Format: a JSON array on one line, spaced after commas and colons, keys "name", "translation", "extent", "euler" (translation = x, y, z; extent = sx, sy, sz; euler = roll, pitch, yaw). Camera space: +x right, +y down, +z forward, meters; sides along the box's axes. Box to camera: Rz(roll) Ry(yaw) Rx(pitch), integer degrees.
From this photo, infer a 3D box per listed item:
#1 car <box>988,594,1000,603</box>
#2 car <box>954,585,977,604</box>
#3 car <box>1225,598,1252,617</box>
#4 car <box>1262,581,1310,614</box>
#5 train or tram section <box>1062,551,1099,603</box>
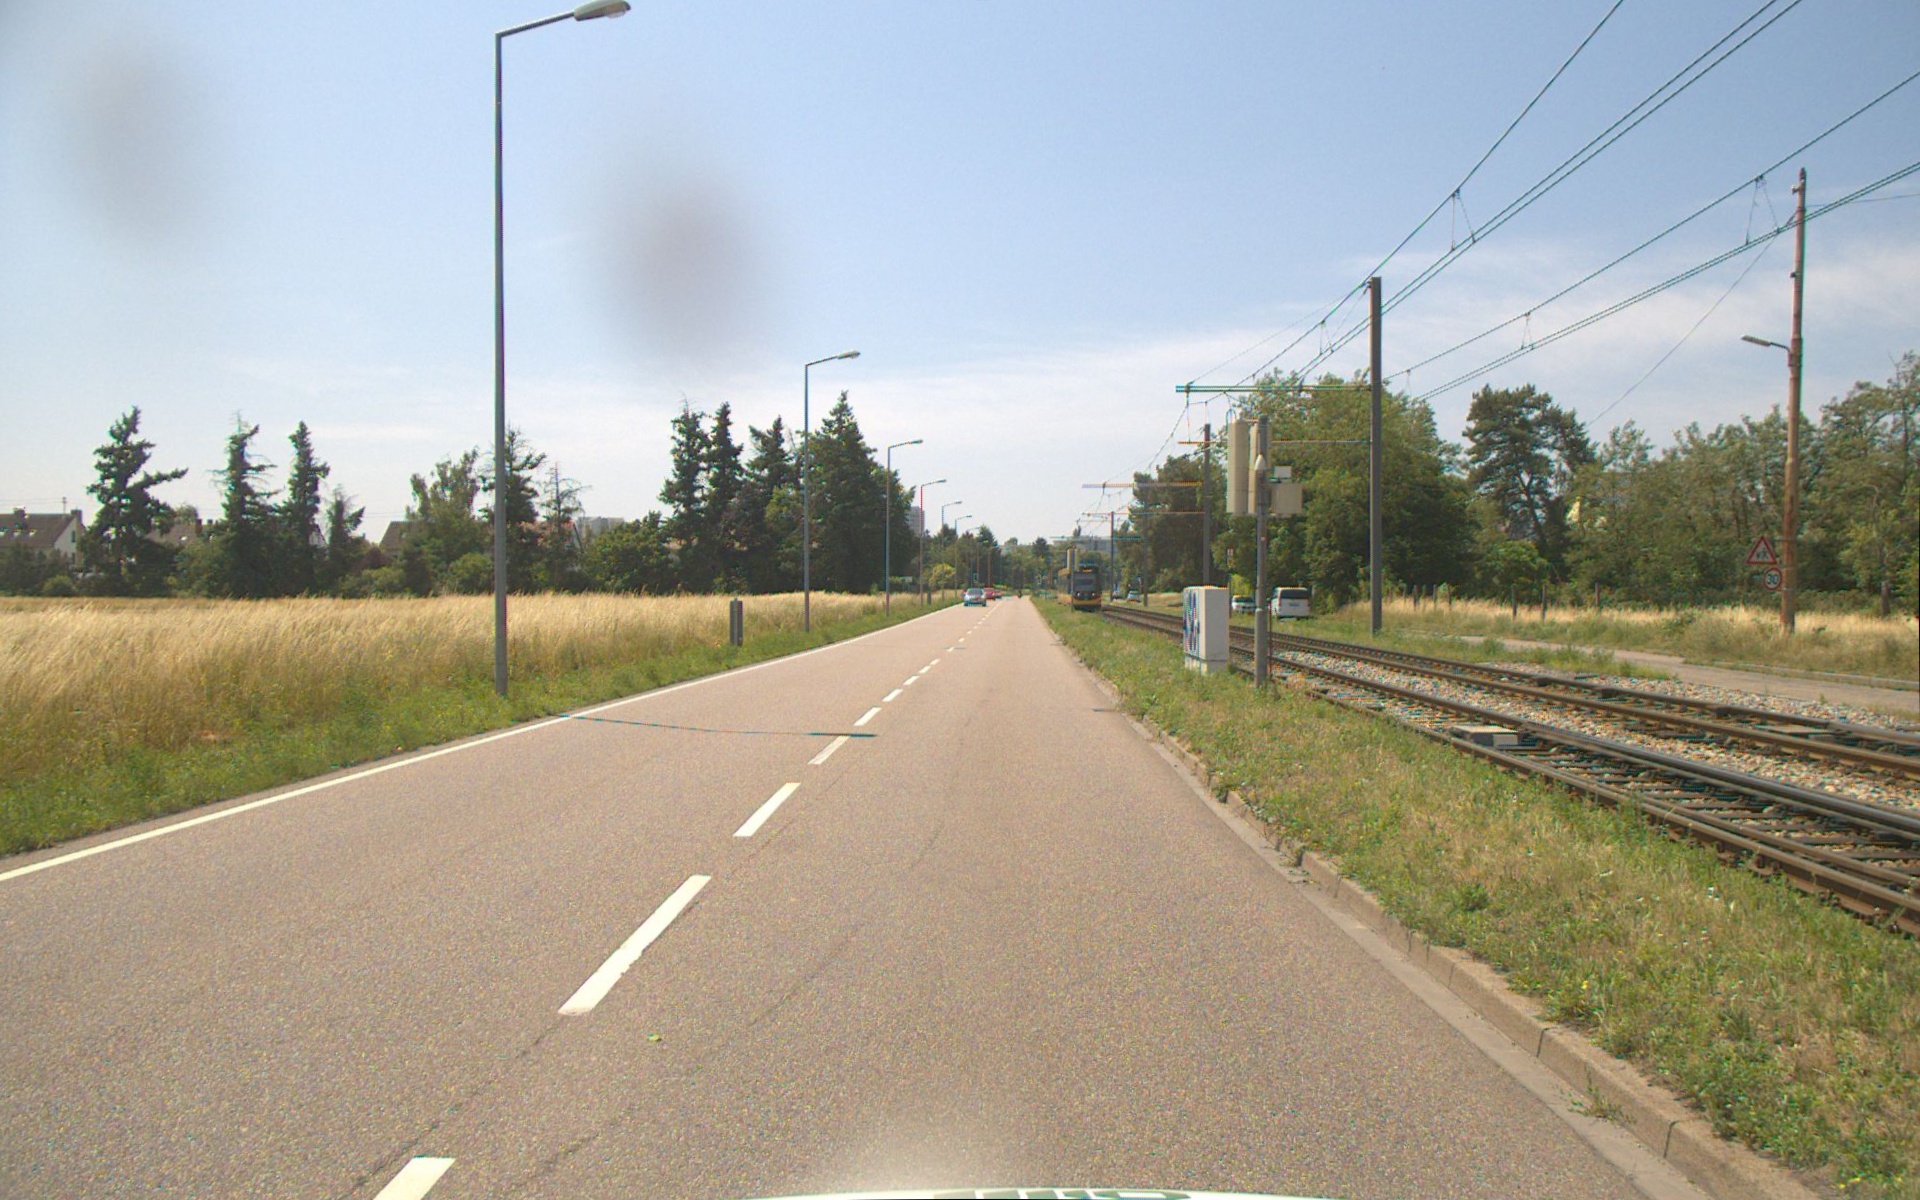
[{"name": "car", "translation": [5.011, -0.254, 241.769], "extent": [1.770, 1.308, 4.287], "euler": [0, -1, 2]}, {"name": "car", "translation": [0.478, -0.462, 141.503], "extent": [1.796, 1.493, 4.679], "euler": [0, -1, 2]}, {"name": "car", "translation": [19.214, 0.538, 114.296], "extent": [1.398, 1.331, 3.466], "euler": [0, -1, 2]}, {"name": "car", "translation": [18.734, -0.145, 95.209], "extent": [1.952, 1.834, 4.795], "euler": [0, -1, 2]}, {"name": "train or tram section", "translation": [9.423, -1.714, 130.525], "extent": [2.379, 3.832, 11.561], "euler": [0, -1, 2]}]
